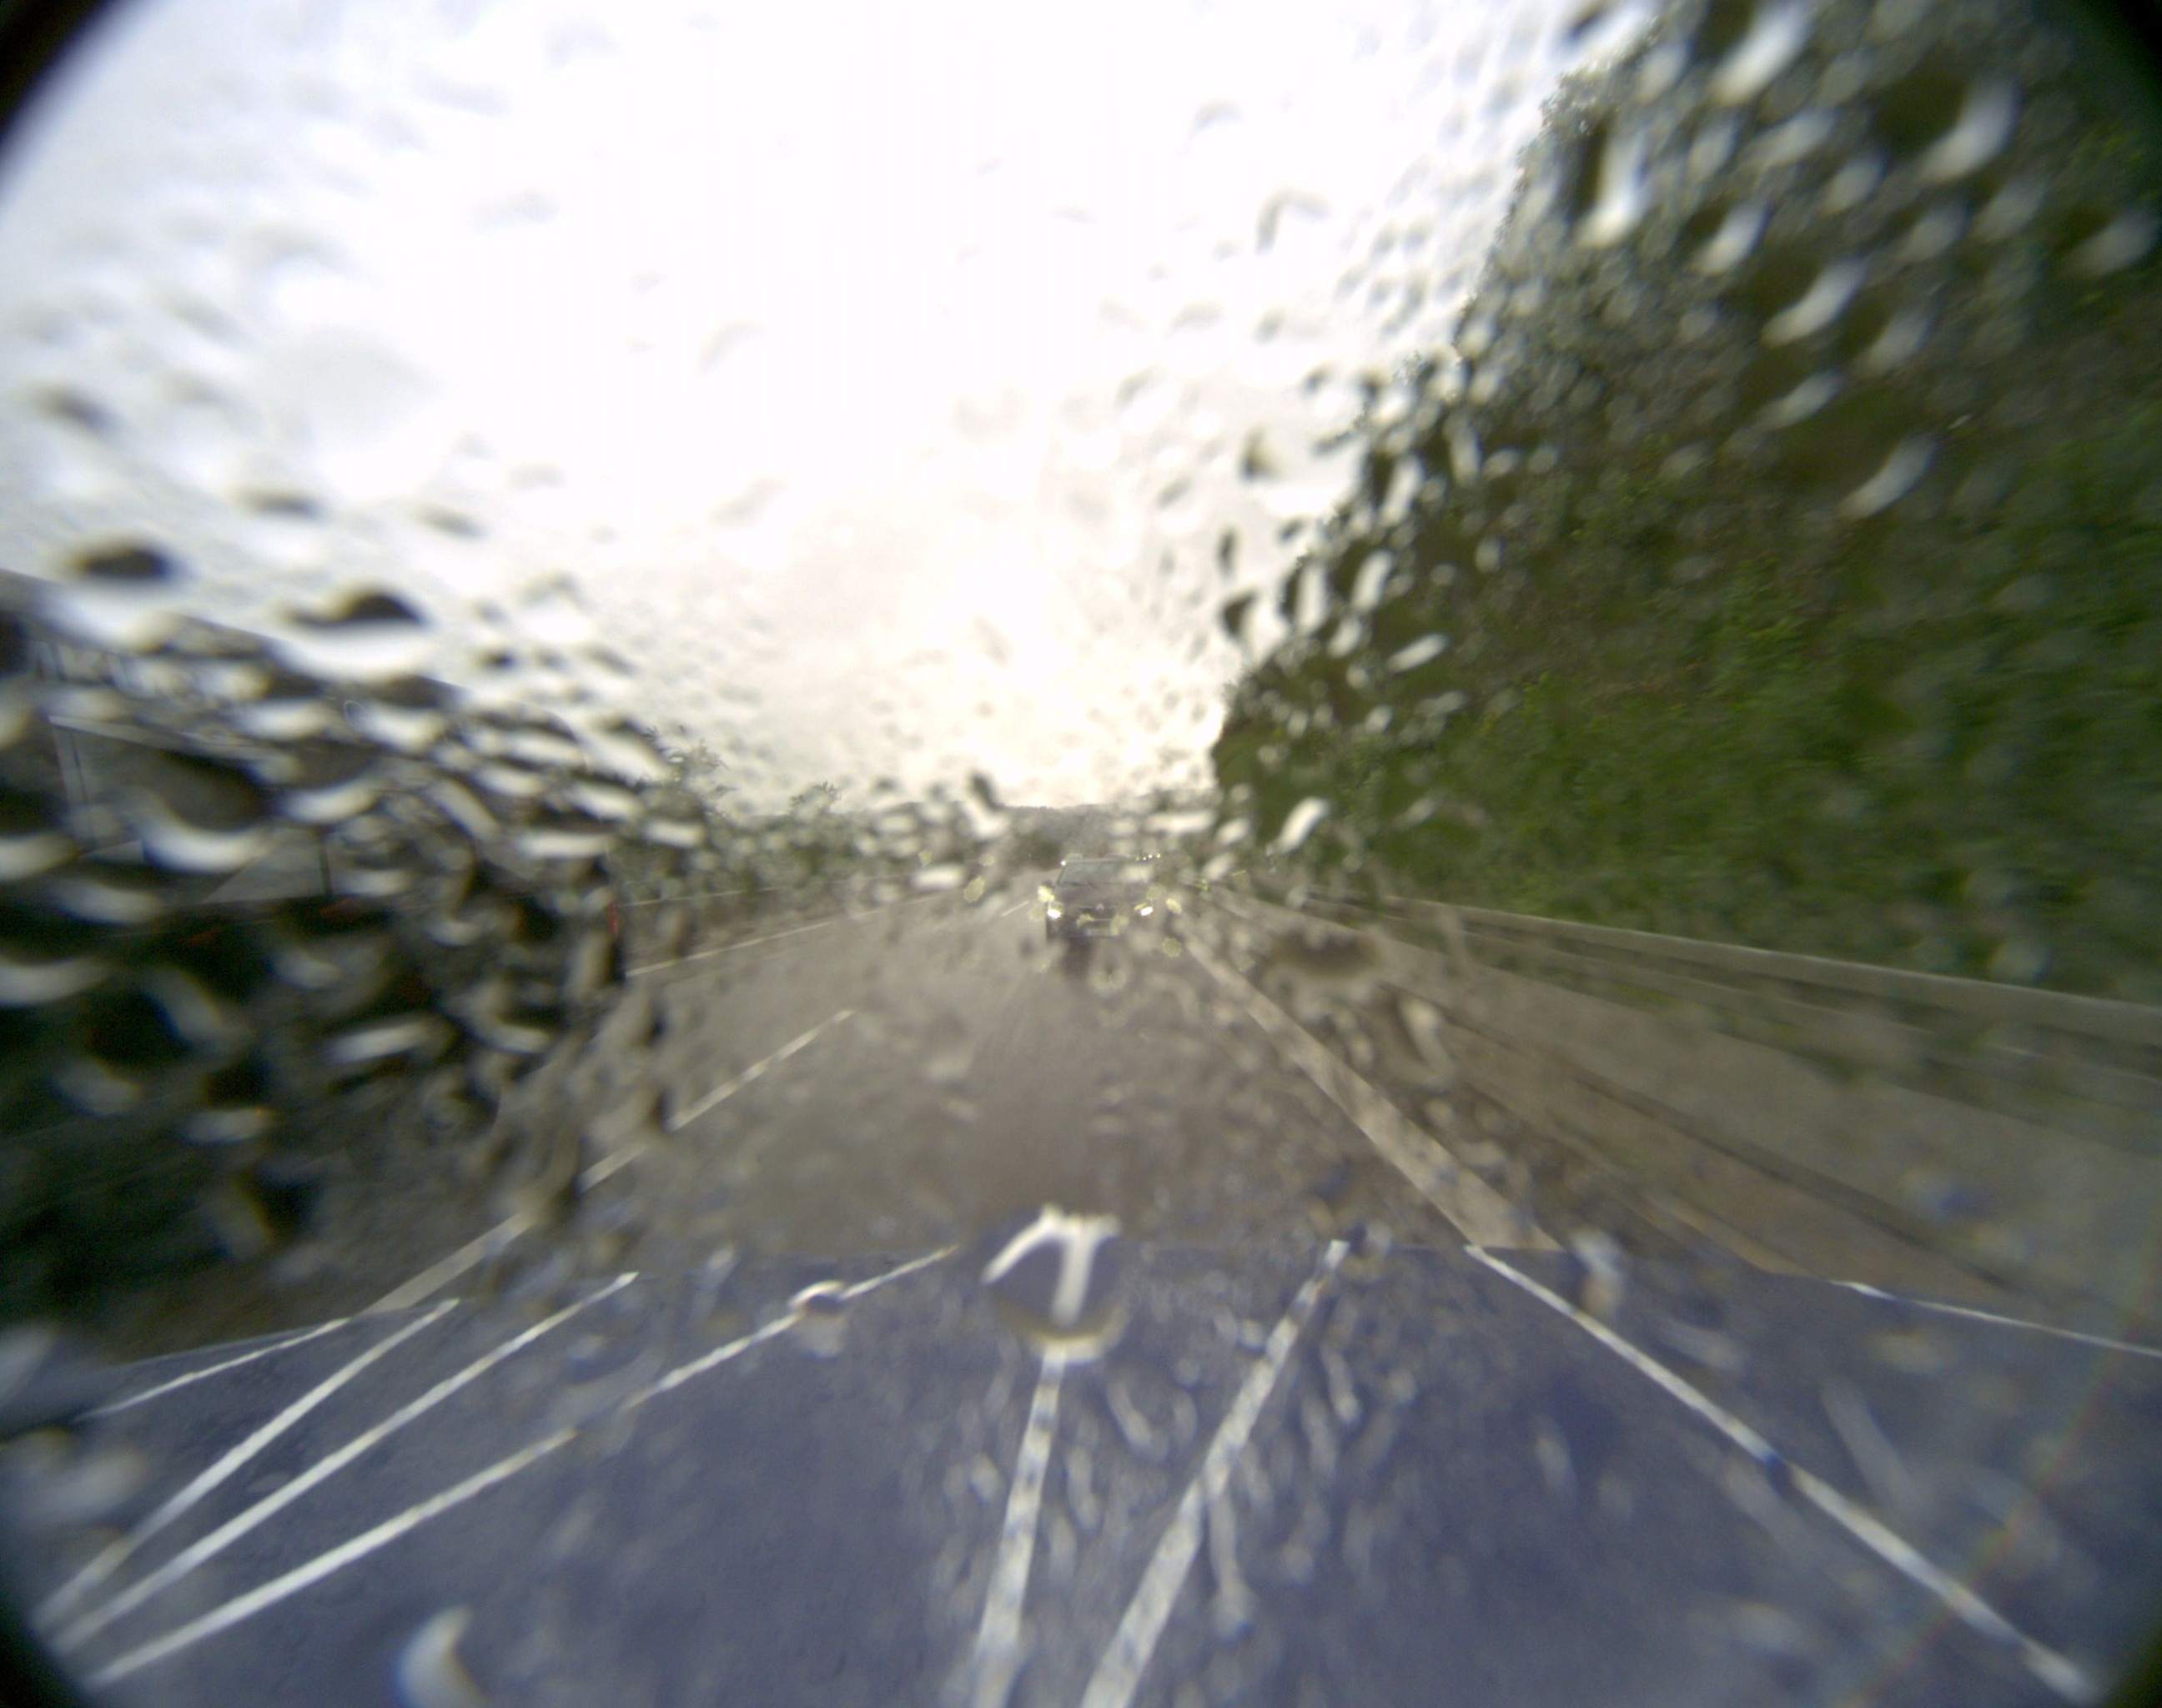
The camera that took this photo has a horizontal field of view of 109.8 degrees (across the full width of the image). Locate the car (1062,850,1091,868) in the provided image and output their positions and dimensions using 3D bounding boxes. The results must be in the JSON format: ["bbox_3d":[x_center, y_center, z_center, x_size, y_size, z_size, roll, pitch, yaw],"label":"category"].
[{"bbox_3d":[-0.368,0.415,66.310,1.990,1.407,4.565,-2,0,5],"label":"car"}]

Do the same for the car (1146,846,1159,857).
[{"bbox_3d":[10.577,-0.335,112.057,1.657,1.535,3.665,-2,1,7],"label":"car"}]

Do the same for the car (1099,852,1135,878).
[{"bbox_3d":[2.130,0.600,44.107,1.712,1.316,3.946,-3,1,7],"label":"car"}]

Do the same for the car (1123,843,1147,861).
[{"bbox_3d":[5.177,-0.192,72.501,1.905,1.545,4.566,-3,1,7],"label":"car"}]

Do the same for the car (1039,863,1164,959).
[{"bbox_3d":[0.430,0.888,13.537,1.839,1.316,4.136,-2,0,3],"label":"car"}]

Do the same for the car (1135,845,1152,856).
[{"bbox_3d":[7.547,-0.419,91.647,1.990,1.316,4.144,-2,0,5],"label":"car"}]

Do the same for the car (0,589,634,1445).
[{"bbox_3d":[-4.151,0.494,1.852,1.998,2.480,6.704,-2,0,1],"label":"car"}]
